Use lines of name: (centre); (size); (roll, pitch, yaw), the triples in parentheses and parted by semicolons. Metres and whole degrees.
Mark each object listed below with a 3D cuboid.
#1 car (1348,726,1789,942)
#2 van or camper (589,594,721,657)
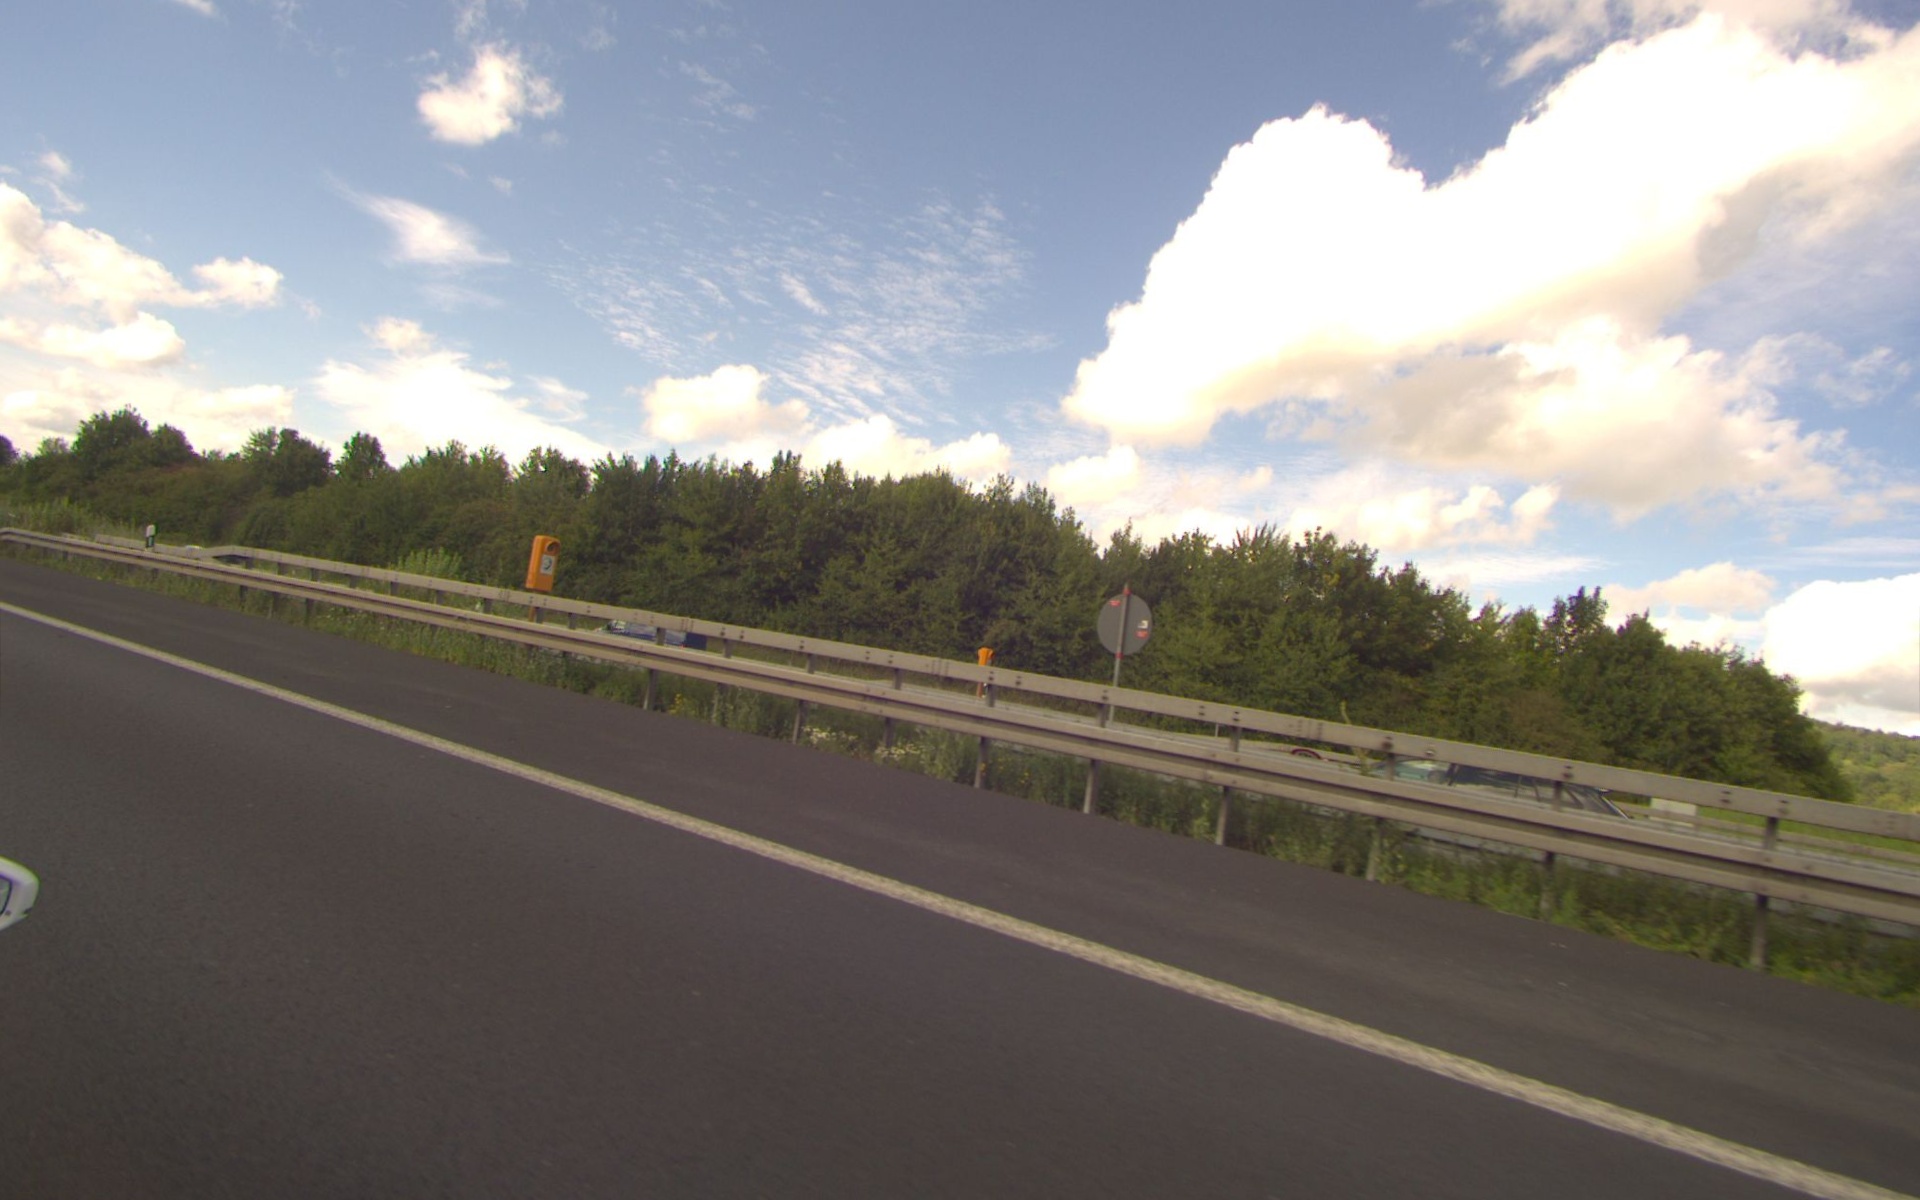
car: (7.341, 2.711, 12.539); (4.273, 1.589, 1.787); (7, -2, 33)
van or camper: (-14.700, 1.237, 48.520); (5.670, 2.205, 2.200); (7, -2, 18)
